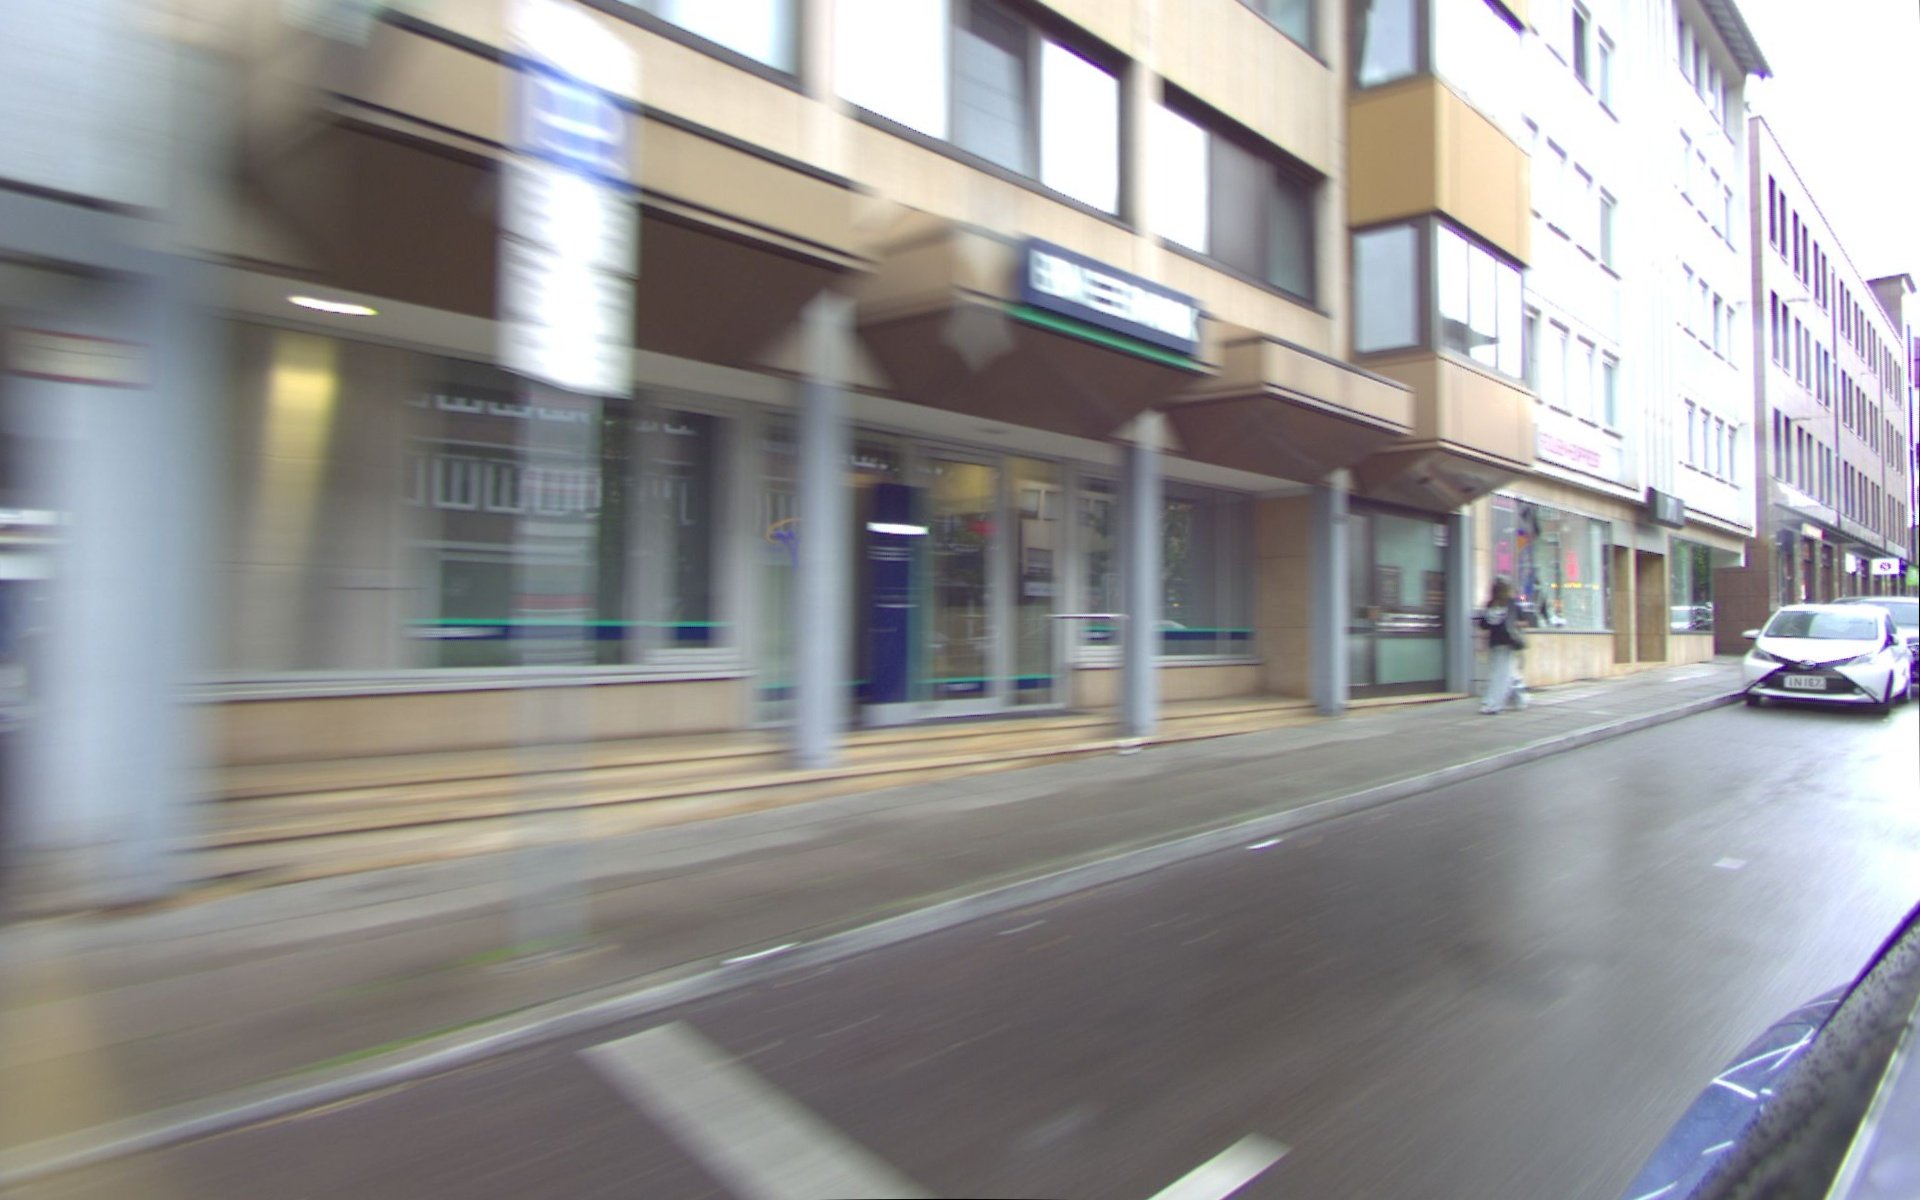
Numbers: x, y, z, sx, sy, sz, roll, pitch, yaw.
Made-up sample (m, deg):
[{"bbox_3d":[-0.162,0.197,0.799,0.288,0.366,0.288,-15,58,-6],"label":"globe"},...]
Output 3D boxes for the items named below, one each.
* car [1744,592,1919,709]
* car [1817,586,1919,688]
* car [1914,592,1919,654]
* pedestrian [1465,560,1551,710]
[{"bbox_3d":[13.119,0.644,14.983,3.996,1.517,1.652,0,0,-41],"label":"car"},{"bbox_3d":[16.389,0.586,17.629,3.996,1.613,1.652,0,0,-41],"label":"car"},{"bbox_3d":[26.914,0.596,27.073,3.996,1.613,1.652,0,0,-41],"label":"car"},{"bbox_3d":[6.596,0.401,12.180,0.867,1.722,0.639,0,0,-41],"label":"pedestrian"}]
